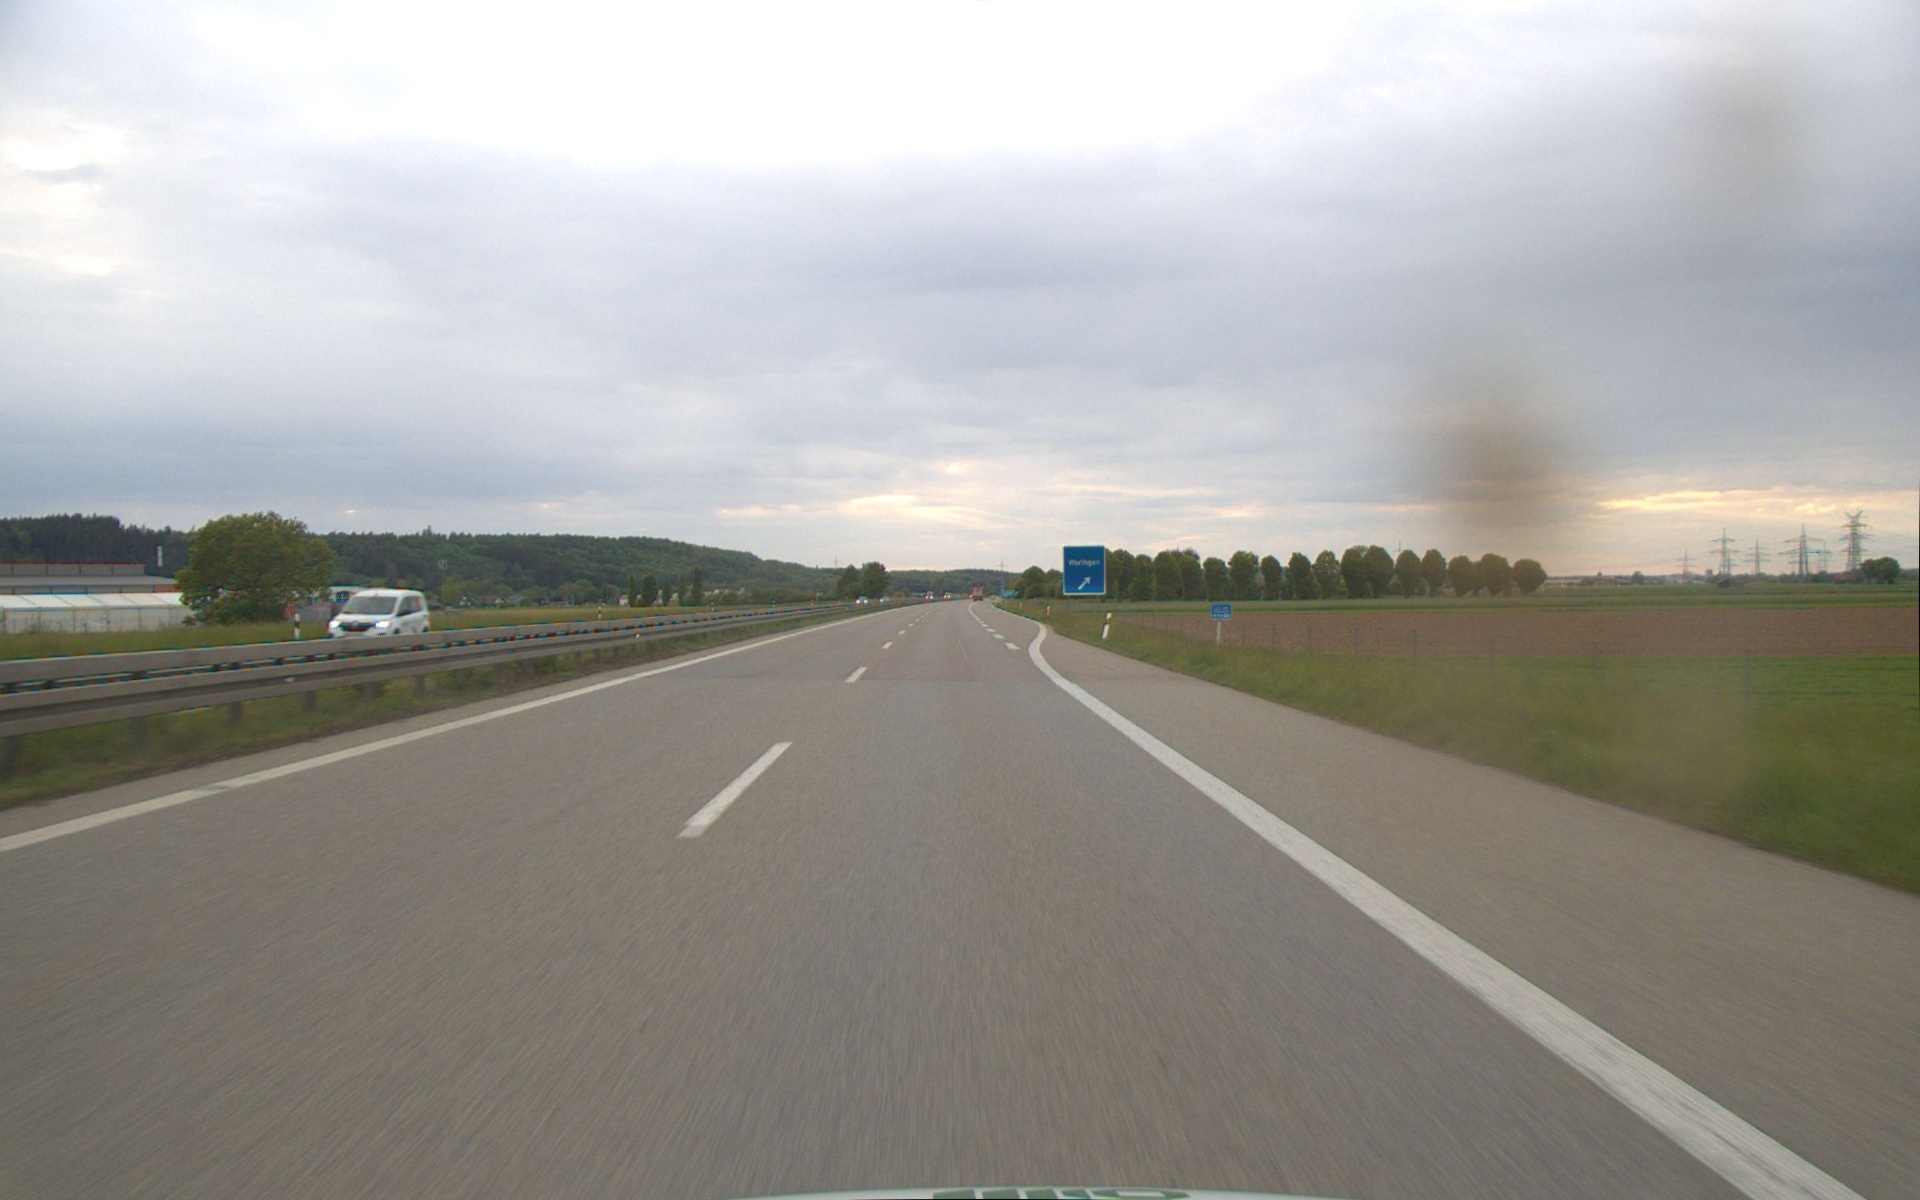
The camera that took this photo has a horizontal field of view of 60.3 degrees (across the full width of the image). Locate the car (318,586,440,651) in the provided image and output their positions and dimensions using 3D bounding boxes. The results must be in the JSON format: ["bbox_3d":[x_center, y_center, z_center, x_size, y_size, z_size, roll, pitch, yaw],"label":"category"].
[{"bbox_3d":[-17.136,0.526,49.036,1.953,1.796,4.950,1,0,-1],"label":"car"}]
